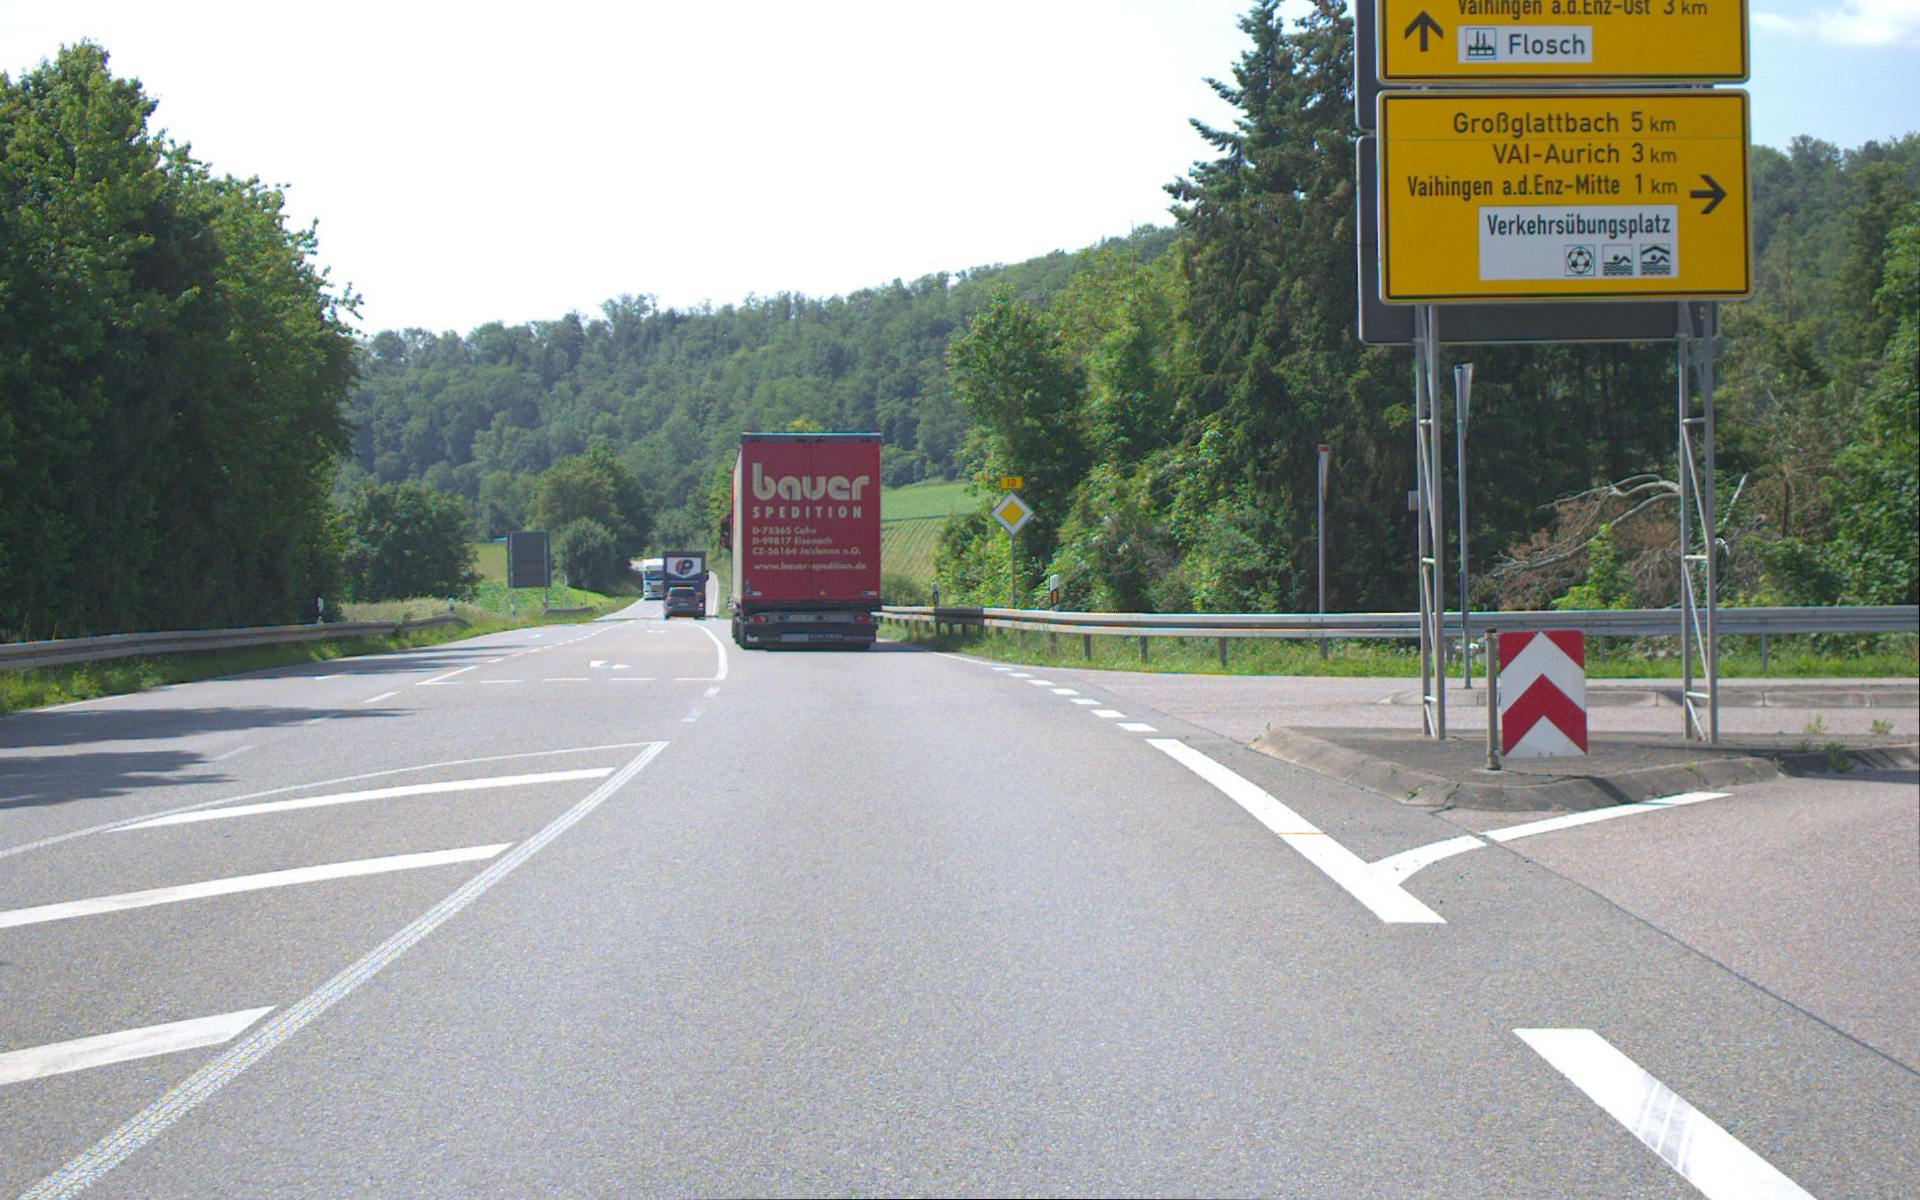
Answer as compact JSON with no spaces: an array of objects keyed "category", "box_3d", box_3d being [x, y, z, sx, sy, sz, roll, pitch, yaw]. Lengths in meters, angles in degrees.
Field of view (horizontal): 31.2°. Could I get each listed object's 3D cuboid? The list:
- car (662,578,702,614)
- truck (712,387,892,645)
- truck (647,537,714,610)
[{"category":"car","box_3d":[-14.849,-0.195,183.695,1.993,1.804,4.001,2,0,-6]},{"category":"truck","box_3d":[-3.289,-1.556,68.488,3.172,4.609,13.545,-1,0,-4]},{"category":"truck","box_3d":[-17.515,-1.599,214.911,3.904,4.355,13.294,2,0,-5]}]
